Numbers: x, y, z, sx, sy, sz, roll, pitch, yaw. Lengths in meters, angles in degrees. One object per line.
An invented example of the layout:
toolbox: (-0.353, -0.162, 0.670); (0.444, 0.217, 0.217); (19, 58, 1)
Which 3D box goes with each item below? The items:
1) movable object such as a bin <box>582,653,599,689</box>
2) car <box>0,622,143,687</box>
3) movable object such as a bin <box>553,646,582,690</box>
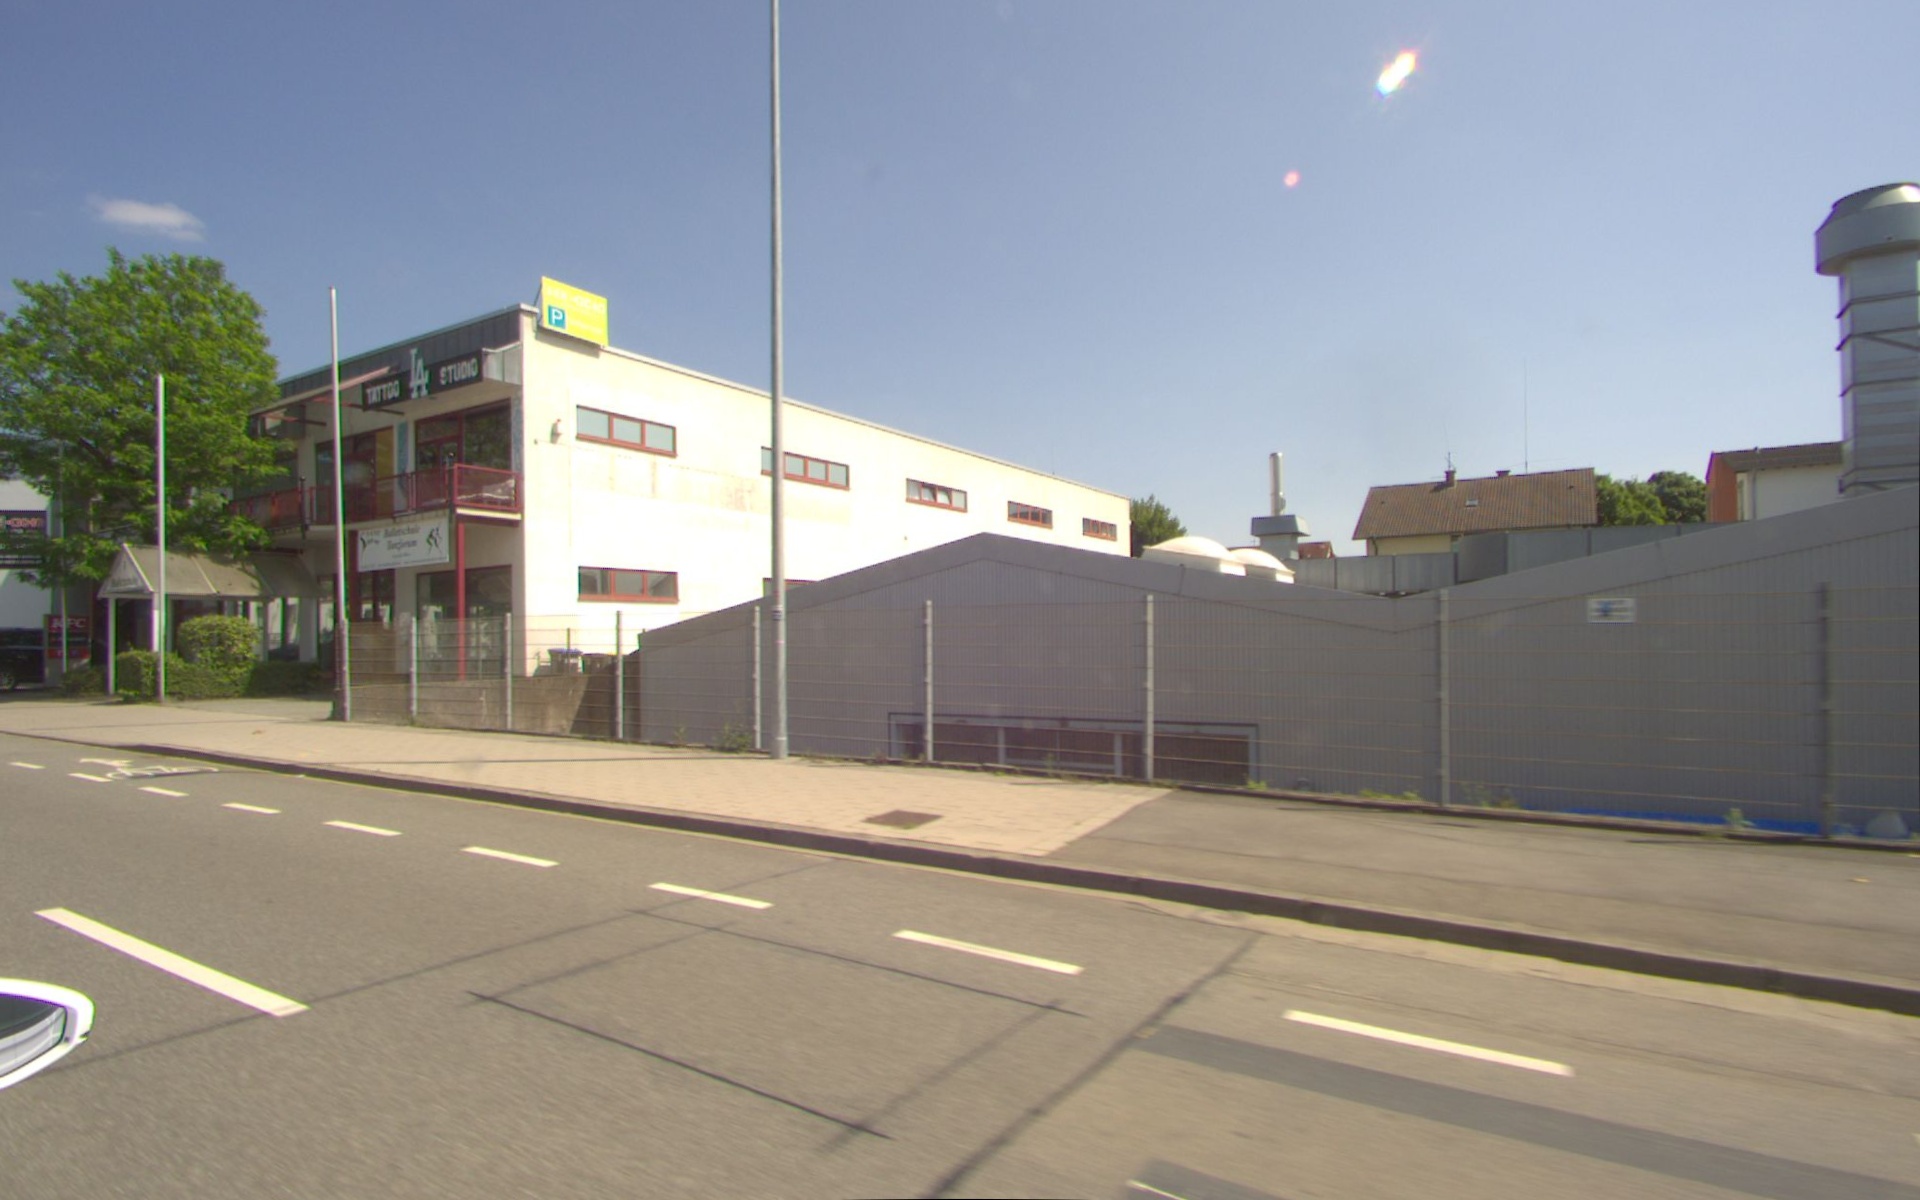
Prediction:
movable object such as a bin: (-9.015, 1.729, 24.440); (0.271, 0.865, 0.266); (-1, 0, 34)
car: (-26.574, 1.554, 29.199); (1.976, 1.798, 3.972); (-1, -1, 38)
movable object such as a bin: (-9.344, 1.617, 23.834); (0.537, 1.025, 0.411); (-1, 0, 34)
